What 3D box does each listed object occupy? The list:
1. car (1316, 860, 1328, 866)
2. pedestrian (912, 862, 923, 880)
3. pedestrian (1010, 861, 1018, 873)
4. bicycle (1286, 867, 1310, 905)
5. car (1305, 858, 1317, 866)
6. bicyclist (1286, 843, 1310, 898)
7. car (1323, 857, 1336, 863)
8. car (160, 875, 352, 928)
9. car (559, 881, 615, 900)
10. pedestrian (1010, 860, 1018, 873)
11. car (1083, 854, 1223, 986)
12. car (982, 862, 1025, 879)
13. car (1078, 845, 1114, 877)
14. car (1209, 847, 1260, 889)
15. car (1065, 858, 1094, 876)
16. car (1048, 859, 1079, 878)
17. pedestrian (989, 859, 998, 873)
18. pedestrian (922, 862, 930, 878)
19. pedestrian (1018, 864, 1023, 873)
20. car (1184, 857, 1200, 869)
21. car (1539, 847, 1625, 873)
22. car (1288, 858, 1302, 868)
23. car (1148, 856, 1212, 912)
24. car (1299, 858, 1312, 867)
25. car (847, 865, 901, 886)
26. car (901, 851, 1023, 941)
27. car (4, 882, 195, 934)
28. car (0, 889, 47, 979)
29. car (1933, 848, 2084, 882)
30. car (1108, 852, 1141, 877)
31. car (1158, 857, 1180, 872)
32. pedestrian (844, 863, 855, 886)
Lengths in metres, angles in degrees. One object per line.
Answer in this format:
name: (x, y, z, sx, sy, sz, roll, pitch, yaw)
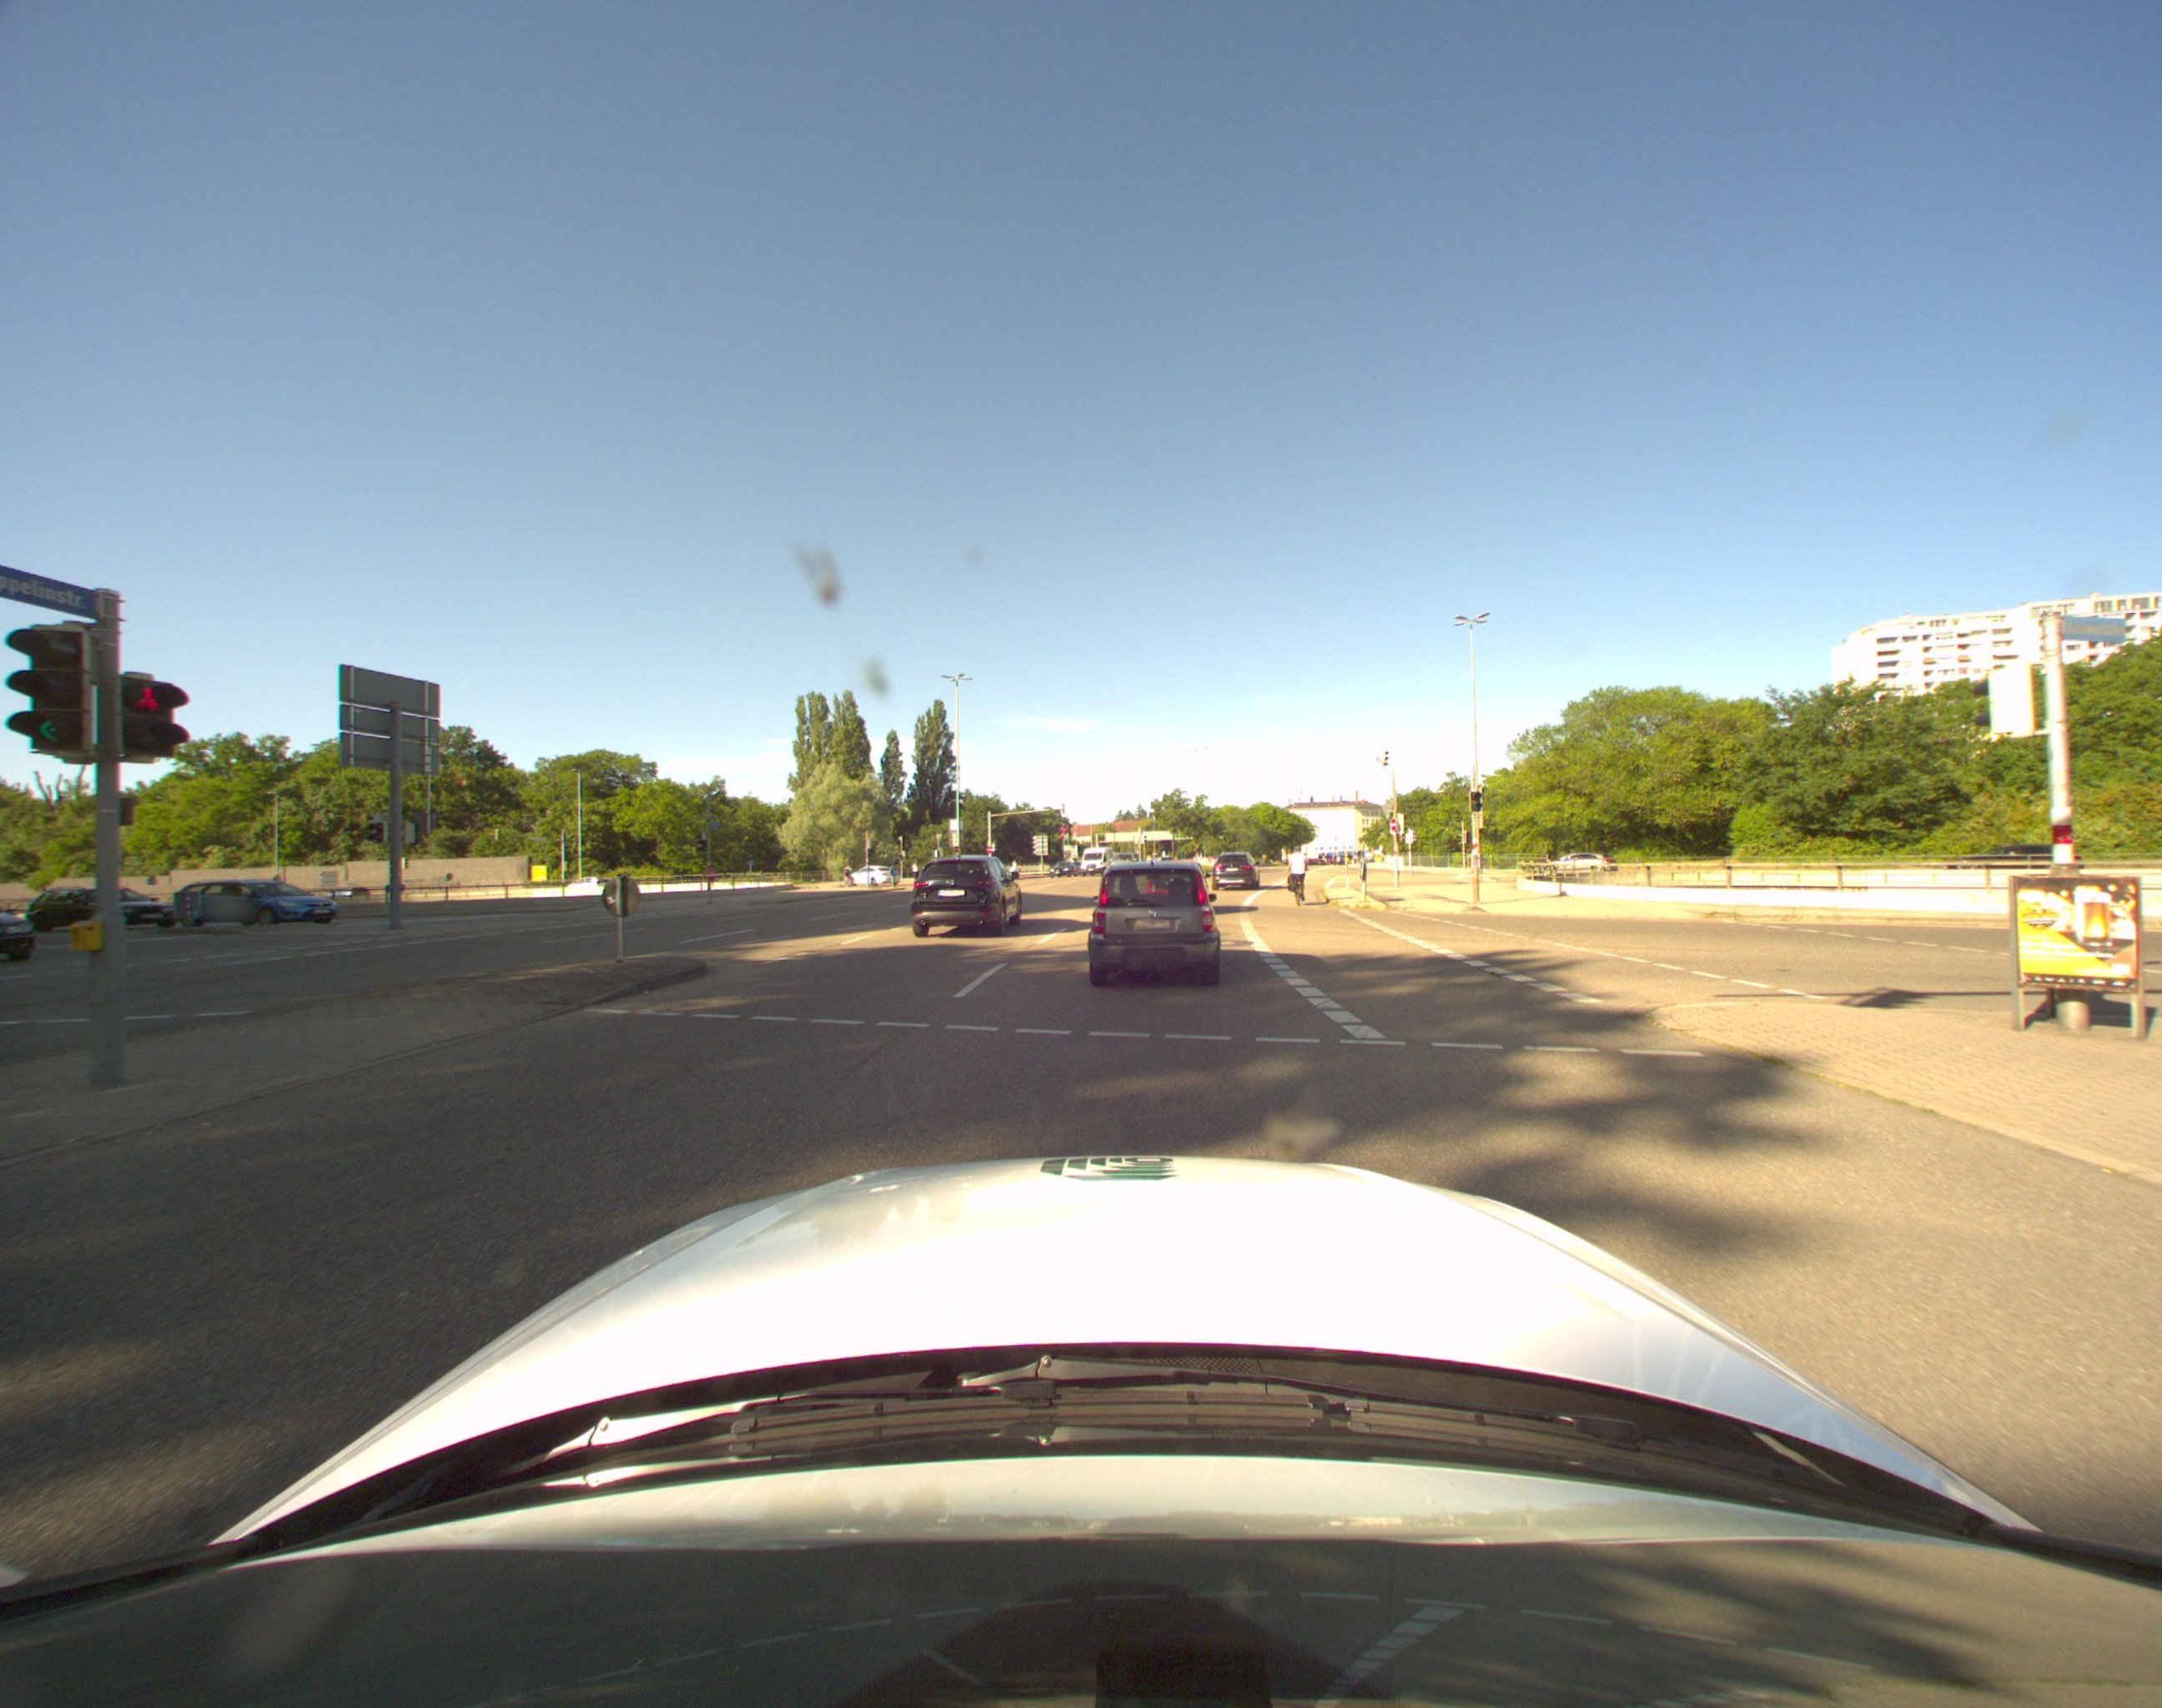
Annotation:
car: (59.417, 2.187, 200.516, 1.927, 1.528, 4.122, -1, -1, 29)
pedestrian: (-13.704, 1.423, 68.095, 0.712, 1.547, 0.723, -1, -1, -24)
pedestrian: (-8.567, 1.639, 104.306, 0.664, 1.503, 0.784, -1, -3, 31)
bicycle: (6.758, 0.978, 25.339, 0.686, 1.102, 1.833, 0, 0, 15)
car: (47.302, 1.644, 167.531, 1.929, 1.528, 4.118, -1, -1, 21)
bicyclist: (6.759, 0.496, 25.369, 0.719, 1.659, 1.117, 0, -1, 15)
car: (65.202, 1.654, 213.602, 1.926, 1.528, 4.123, -2, -1, 34)
car: (-26.540, 1.495, 26.284, 4.422, 1.541, 1.954, -1, -1, 5)
car: (-43.854, 3.244, 72.303, 3.959, 1.508, 2.007, -1, 0, 13)
pedestrian: (-8.306, 1.577, 101.262, 0.714, 1.641, 0.675, 0, -3, 17)
car: (1.046, 0.778, 11.338, 1.609, 1.515, 3.826, -1, 0, 6)
car: (-7.792, 1.655, 82.480, 1.762, 1.535, 4.356, 0, 0, 41)
car: (1.408, 0.588, 71.157, 1.923, 2.576, 6.109, -1, 0, 12)
car: (7.276, 0.653, 38.297, 1.930, 1.840, 4.171, 0, -1, 17)
car: (-0.098, 1.223, 78.730, 1.799, 1.542, 4.631, -3, -1, 11)
car: (-1.517, 1.247, 71.789, 1.925, 1.507, 4.011, -3, -1, 9)
pedestrian: (-10.310, 1.448, 96.074, 0.782, 1.664, 0.633, -1, -3, 24)
pedestrian: (-15.069, 1.589, 79.048, 0.559, 1.547, 0.571, -1, -2, -24)
pedestrian: (-7.487, 1.847, 101.100, 0.420, 1.136, 0.399, 0, -3, 17)
car: (16.871, 1.368, 123.890, 1.923, 1.622, 4.522, -1, 0, 14)
car: (31.363, 0.393, 51.071, 1.871, 1.552, 4.193, -1, -1, -43)
car: (35.735, 1.474, 135.983, 1.929, 1.528, 4.118, -1, -1, 20)
car: (2.914, 0.811, 23.413, 1.607, 1.463, 3.761, -1, 0, 10)
car: (41.408, 1.521, 150.204, 1.929, 1.528, 4.118, -1, -1, 20)
car: (-14.731, 1.501, 57.834, 4.265, 1.415, 1.797, -2, -1, 45)
car: (-2.446, 0.833, 17.796, 1.867, 1.709, 4.199, -1, -1, 2)
car: (-32.310, 1.764, 26.883, 4.418, 1.541, 1.956, -1, -1, 8)
car: (-22.106, 1.535, 15.885, 4.723, 1.621, 1.964, -1, -1, 33)
car: (46.573, 0.564, 41.047, 4.619, 1.616, 1.872, -1, 0, 27)
car: (3.650, 0.851, 67.912, 1.923, 2.008, 4.948, -1, 0, 12)
car: (10.355, 1.201, 95.607, 1.923, 1.622, 4.522, -1, 0, 14)
pedestrian: (-15.023, 1.348, 52.896, 0.680, 1.463, 0.699, -1, -1, -14)
